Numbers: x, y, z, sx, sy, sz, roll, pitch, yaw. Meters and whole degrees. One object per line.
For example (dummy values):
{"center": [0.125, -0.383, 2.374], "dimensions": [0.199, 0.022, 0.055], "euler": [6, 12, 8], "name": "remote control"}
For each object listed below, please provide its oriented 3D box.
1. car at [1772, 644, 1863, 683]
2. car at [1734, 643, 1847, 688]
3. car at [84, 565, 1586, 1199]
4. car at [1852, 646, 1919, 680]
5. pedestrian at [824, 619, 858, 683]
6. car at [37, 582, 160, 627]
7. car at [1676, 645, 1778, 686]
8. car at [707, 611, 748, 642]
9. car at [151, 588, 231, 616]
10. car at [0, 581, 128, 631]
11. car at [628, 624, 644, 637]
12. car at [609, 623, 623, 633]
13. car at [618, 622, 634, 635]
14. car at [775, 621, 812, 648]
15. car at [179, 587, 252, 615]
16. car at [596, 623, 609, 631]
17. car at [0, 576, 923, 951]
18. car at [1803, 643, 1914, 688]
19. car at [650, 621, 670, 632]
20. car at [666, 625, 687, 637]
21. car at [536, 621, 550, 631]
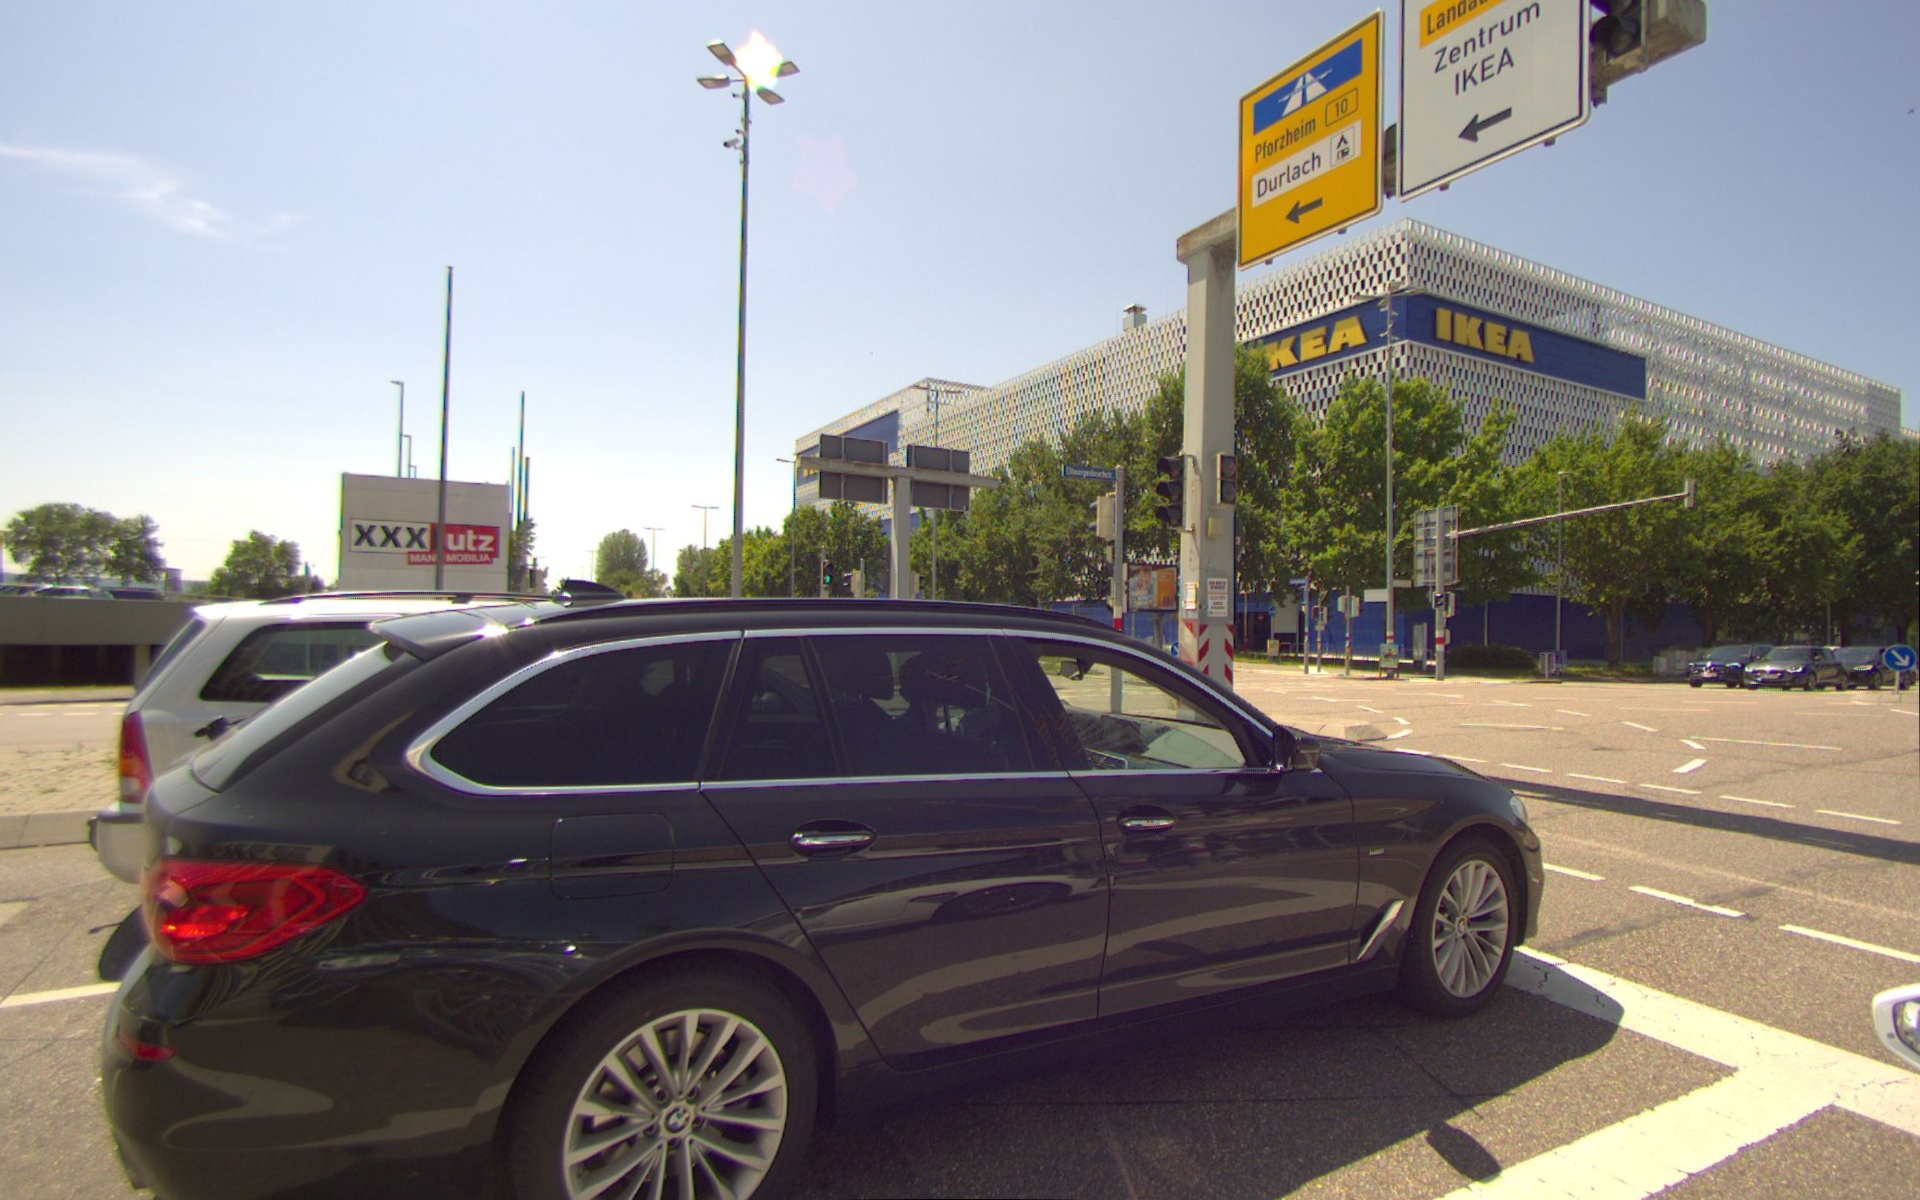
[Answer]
{"center": [35.644, 2.646, 41.734], "dimensions": [3.870, 1.564, 1.718], "euler": [3, -3, -31], "name": "car"}
{"center": [27.174, 2.163, 32.852], "dimensions": [3.671, 1.407, 1.637], "euler": [3, -4, -30], "name": "car"}
{"center": [0.085, 0.743, 3.544], "dimensions": [4.505, 1.459, 1.788], "euler": [2, -1, -31], "name": "car"}
{"center": [42.684, 2.885, 45.998], "dimensions": [3.870, 1.505, 1.642], "euler": [3, -3, -31], "name": "car"}
{"center": [-3.466, 1.478, 29.225], "dimensions": [0.816, 1.807, 0.601], "euler": [2, -2, -27], "name": "pedestrian"}
{"center": [-42.113, 0.266, 49.273], "dimensions": [4.285, 2.040, 1.981], "euler": [2, -2, -34], "name": "car"}
{"center": [28.672, 2.448, 37.526], "dimensions": [3.992, 1.442, 1.653], "euler": [3, -3, -31], "name": "car"}
{"center": [-17.070, 1.935, 73.571], "dimensions": [1.973, 2.212, 5.019], "euler": [1, -2, -25], "name": "car"}
{"center": [-52.463, 0.152, 68.637], "dimensions": [4.086, 1.764, 1.770], "euler": [2, -2, -30], "name": "car"}
{"center": [-39.579, 0.287, 44.232], "dimensions": [4.284, 2.040, 1.982], "euler": [2, -2, -34], "name": "car"}
{"center": [-46.347, 4.308, 143.601], "dimensions": [1.607, 1.835, 3.474], "euler": [1, -2, -27], "name": "car"}
{"center": [-55.460, 4.548, 161.906], "dimensions": [1.608, 1.629, 3.471], "euler": [2, -2, -29], "name": "car"}
{"center": [-49.555, 4.209, 149.058], "dimensions": [1.609, 1.938, 3.471], "euler": [2, -2, -30], "name": "car"}
{"center": [-12.899, 2.656, 77.738], "dimensions": [1.750, 2.040, 3.813], "euler": [1, -2, -26], "name": "car"}
{"center": [-57.862, 0.096, 78.141], "dimensions": [4.278, 2.040, 1.985], "euler": [2, -2, -30], "name": "car"}
{"center": [-60.622, 4.548, 170.320], "dimensions": [1.608, 1.368, 3.472], "euler": [2, -2, -29], "name": "car"}
{"center": [-2.348, 0.657, 5.548], "dimensions": [3.959, 1.441, 1.685], "euler": [1, 0, -29], "name": "car"}
{"center": [32.364, 2.369, 36.168], "dimensions": [4.193, 1.524, 1.719], "euler": [3, -4, -30], "name": "car"}
{"center": [-43.088, 3.807, 144.272], "dimensions": [1.976, 1.572, 3.970], "euler": [2, -2, -29], "name": "car"}
{"center": [-38.333, 4.222, 135.660], "dimensions": [1.975, 1.572, 3.972], "euler": [2, -2, -27], "name": "car"}
{"center": [-71.119, 4.432, 171.447], "dimensions": [1.836, 1.528, 3.971], "euler": [2, -2, -28], "name": "car"}
